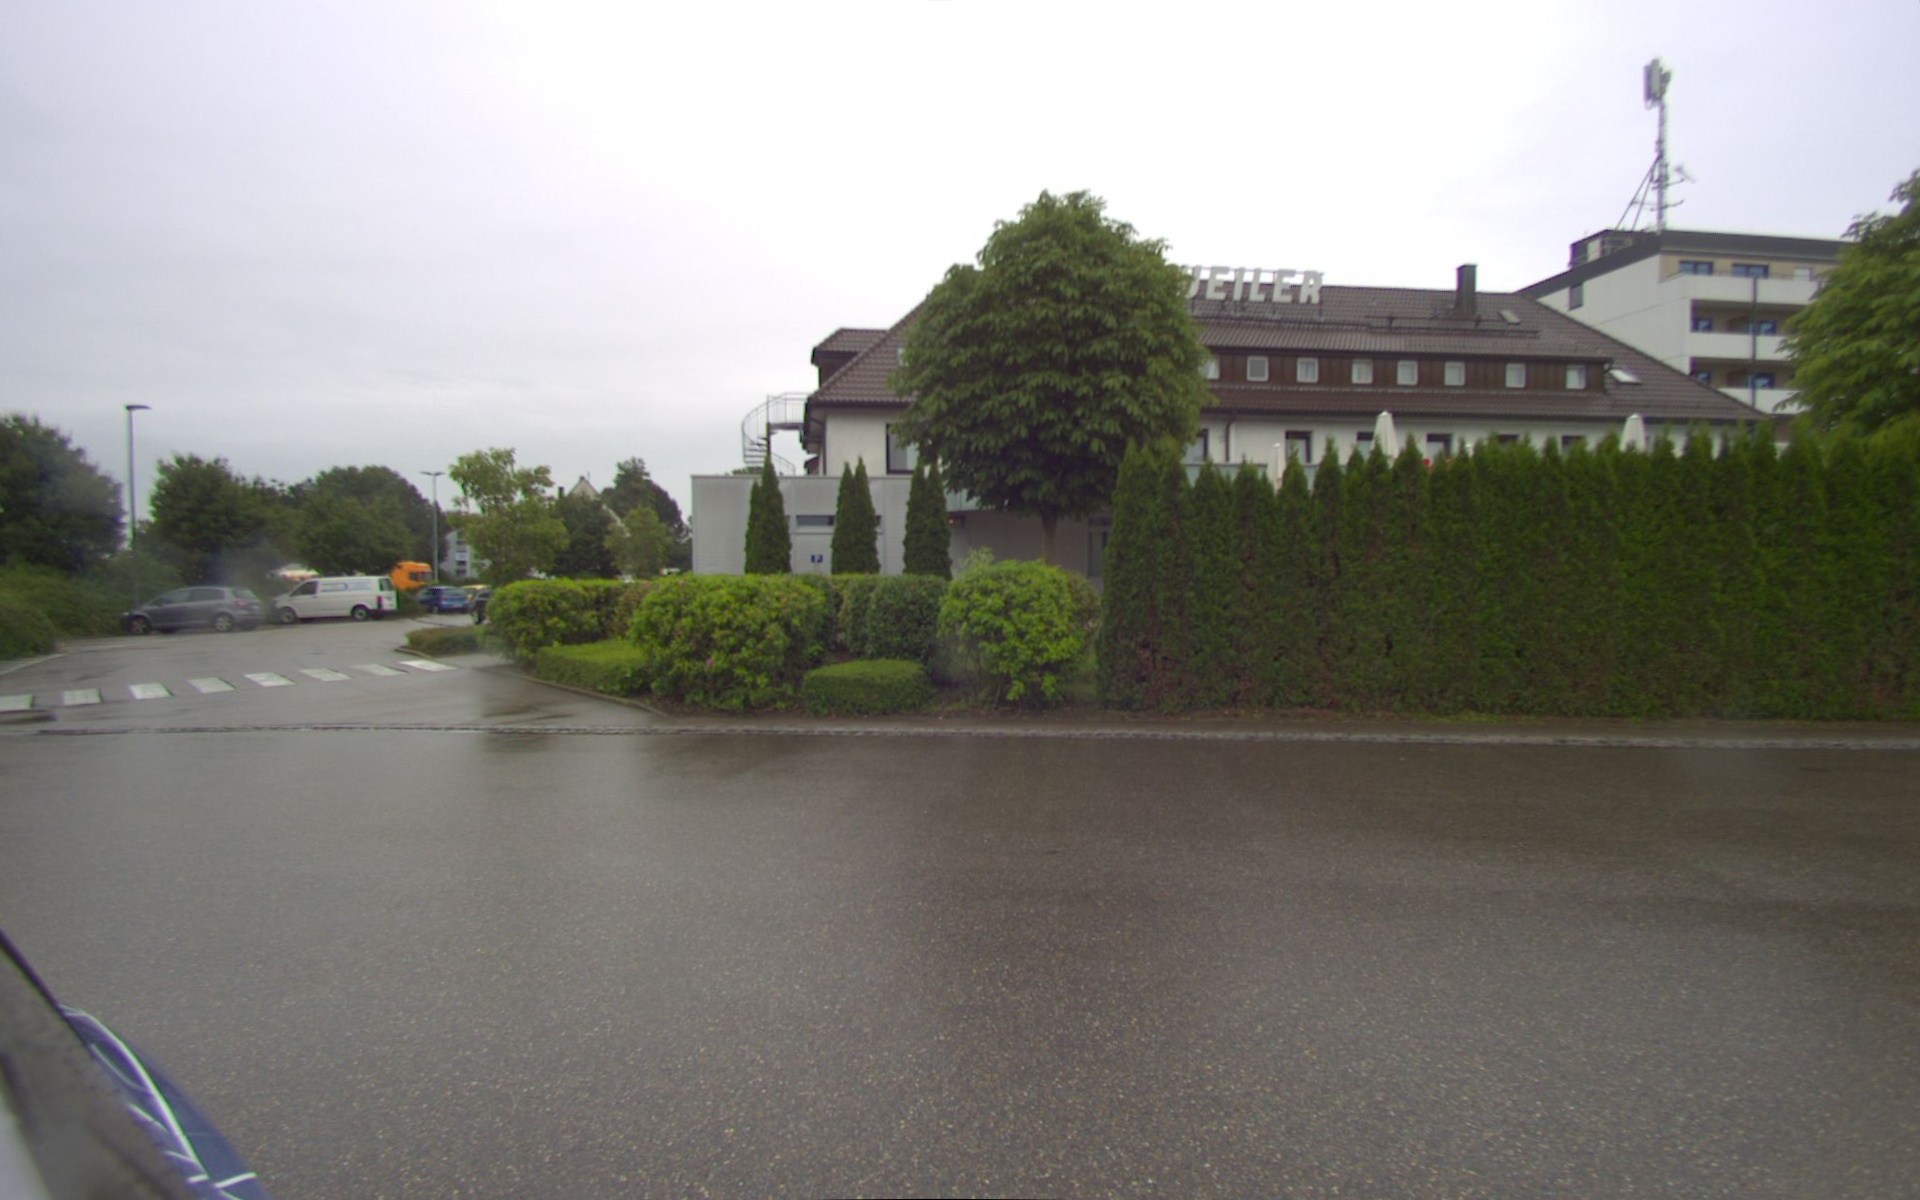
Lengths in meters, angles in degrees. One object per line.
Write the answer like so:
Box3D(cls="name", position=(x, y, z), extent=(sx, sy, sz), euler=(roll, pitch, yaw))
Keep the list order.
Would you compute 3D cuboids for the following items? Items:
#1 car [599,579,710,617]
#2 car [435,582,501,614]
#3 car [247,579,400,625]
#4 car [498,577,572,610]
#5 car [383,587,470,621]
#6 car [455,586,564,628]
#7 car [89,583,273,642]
Box3D(cls="car", position=(-12.808, -0.096, 42.680), extent=(4.290, 1.435, 1.854), euler=(-2, 1, -10))
Box3D(cls="car", position=(-26.658, -0.095, 54.796), extent=(3.719, 1.560, 1.646), euler=(-1, 1, 36))
Box3D(cls="car", position=(-27.906, 0.079, 44.556), extent=(5.292, 1.734, 2.004), euler=(-3, 1, -9))
Box3D(cls="car", position=(-24.835, -0.363, 59.080), extent=(3.984, 1.741, 1.970), euler=(-2, 1, 30))
Box3D(cls="car", position=(-27.536, 0.191, 52.221), extent=(4.636, 1.562, 1.978), euler=(-2, 1, 34))
Box3D(cls="car", position=(-16.708, 0.243, 37.457), extent=(4.351, 1.435, 1.686), euler=(0, 2, 36))
Box3D(cls="car", position=(-26.556, 0.394, 34.646), extent=(4.536, 1.734, 2.004), euler=(-3, 1, -9))
